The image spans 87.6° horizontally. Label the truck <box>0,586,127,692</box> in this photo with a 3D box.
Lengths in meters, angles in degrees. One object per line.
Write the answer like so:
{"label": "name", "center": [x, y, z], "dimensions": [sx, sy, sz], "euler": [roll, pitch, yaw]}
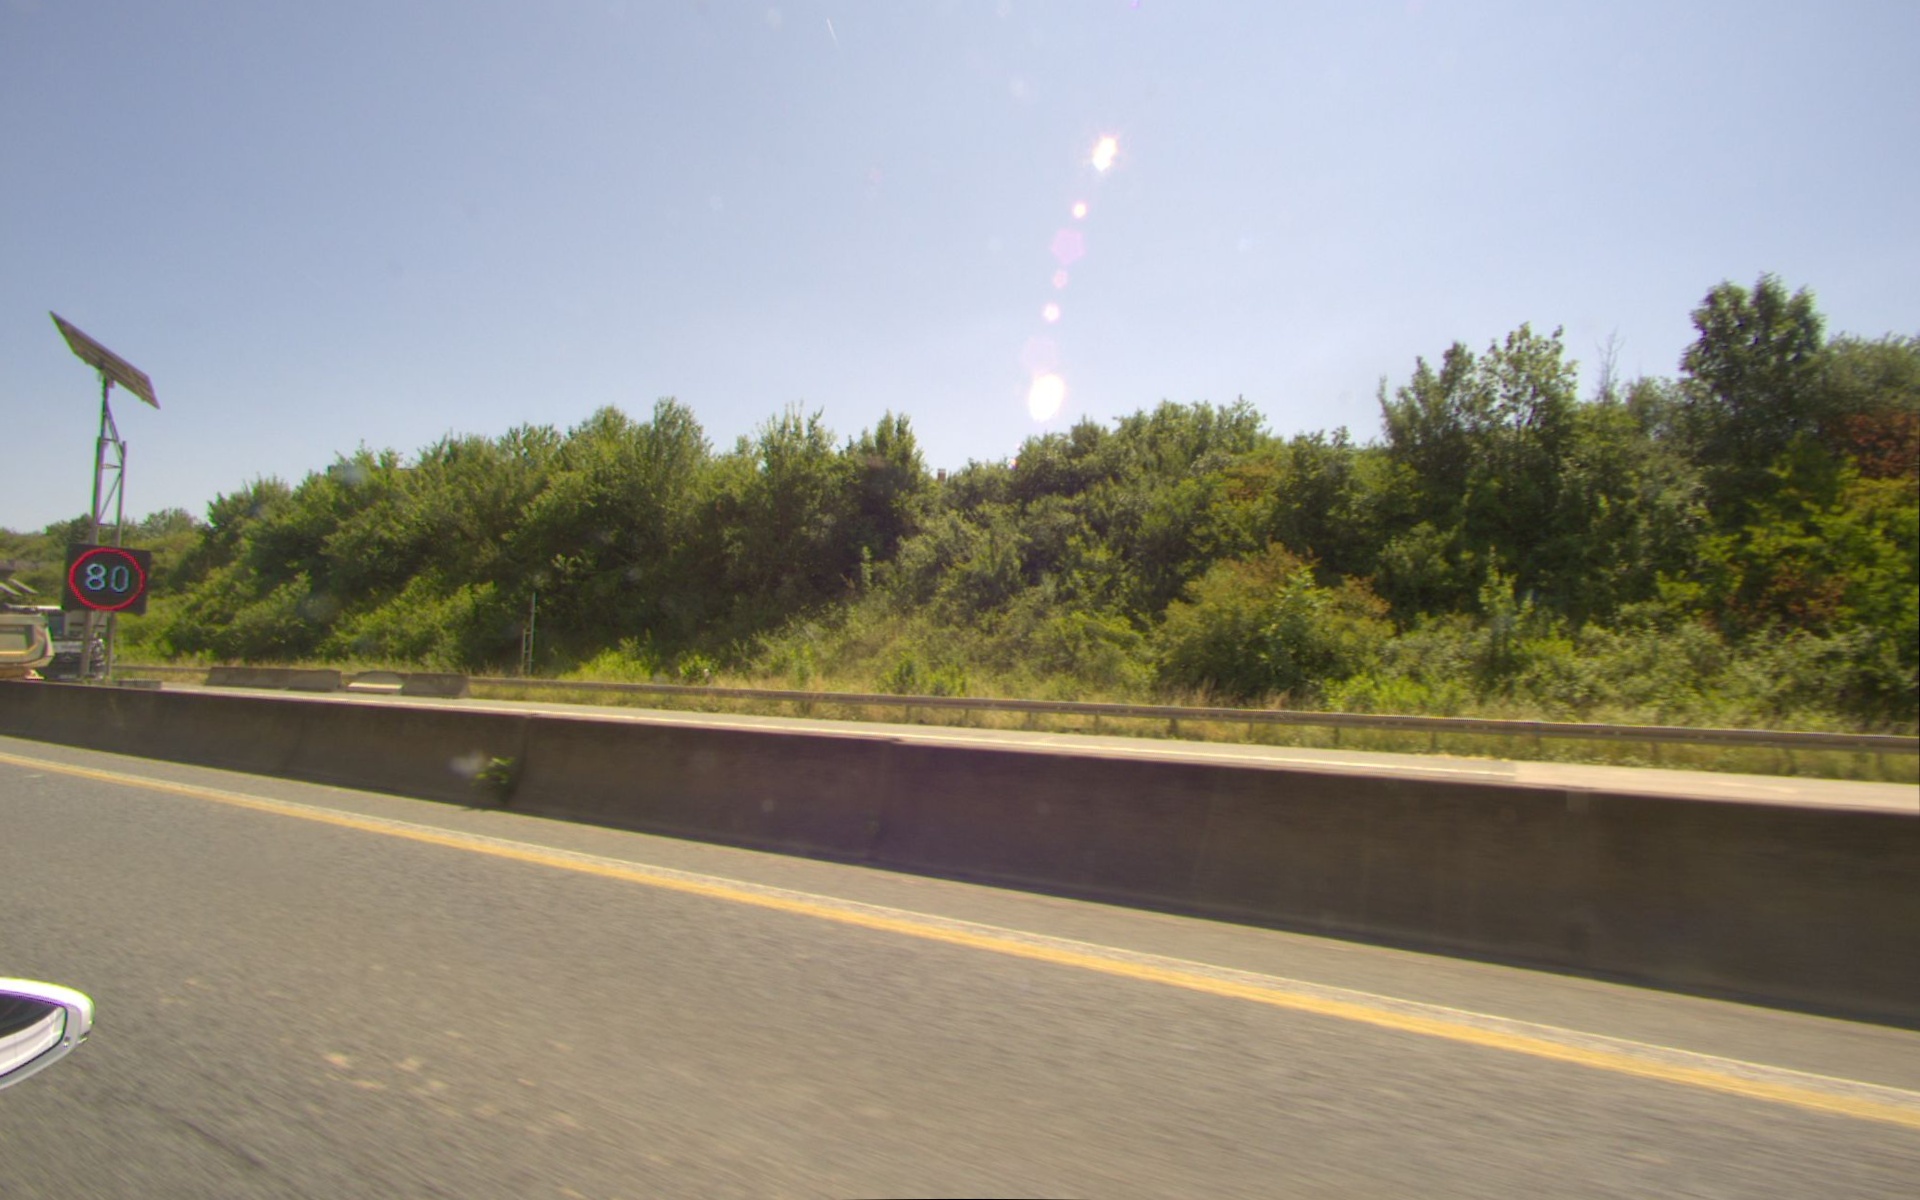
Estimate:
{"label": "truck", "center": [-34.253, 1.433, 37.087], "dimensions": [8.258, 3.555, 2.684], "euler": [-1, -2, 31]}

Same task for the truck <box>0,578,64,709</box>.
{"label": "truck", "center": [-29.953, 1.248, 29.683], "dimensions": [8.964, 3.555, 2.530], "euler": [-1, -2, 31]}
